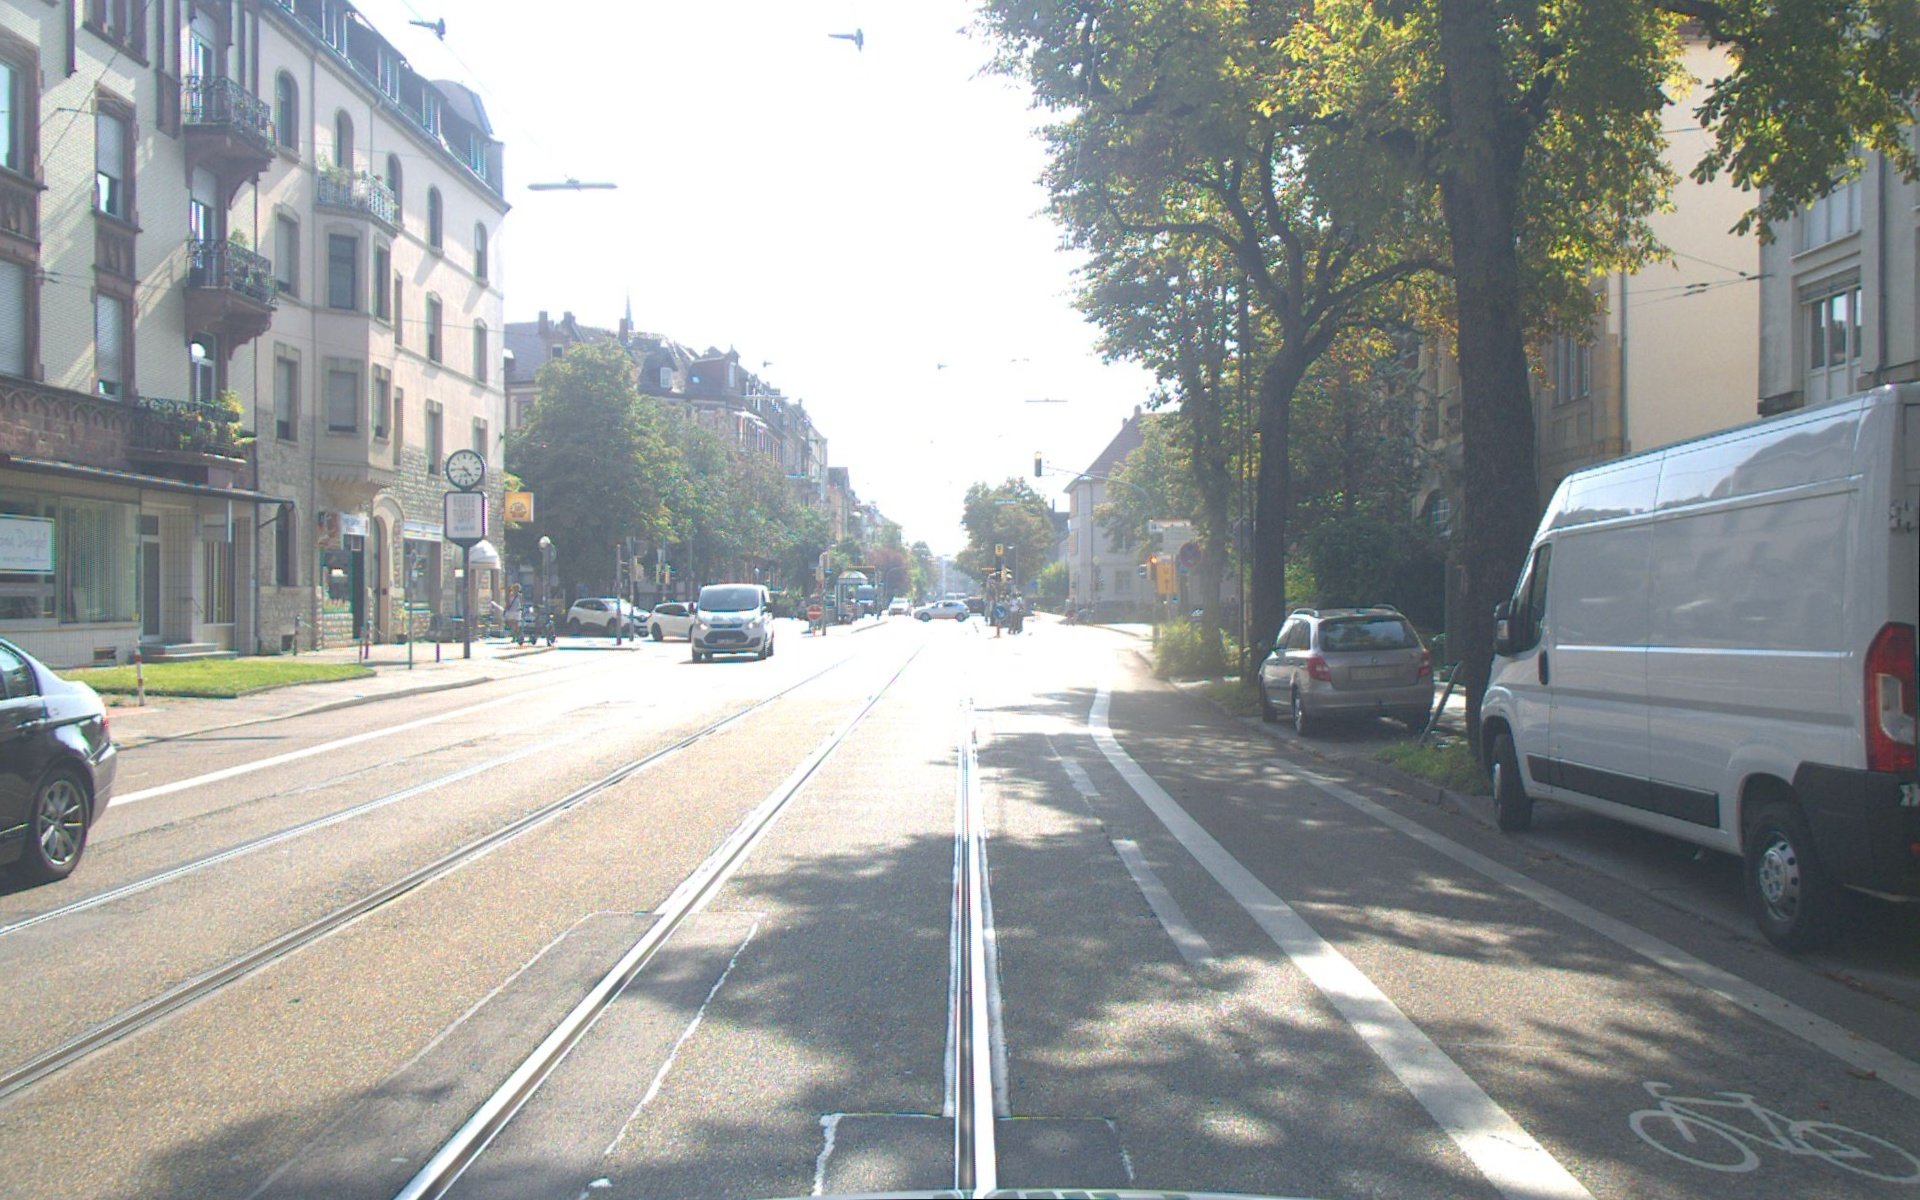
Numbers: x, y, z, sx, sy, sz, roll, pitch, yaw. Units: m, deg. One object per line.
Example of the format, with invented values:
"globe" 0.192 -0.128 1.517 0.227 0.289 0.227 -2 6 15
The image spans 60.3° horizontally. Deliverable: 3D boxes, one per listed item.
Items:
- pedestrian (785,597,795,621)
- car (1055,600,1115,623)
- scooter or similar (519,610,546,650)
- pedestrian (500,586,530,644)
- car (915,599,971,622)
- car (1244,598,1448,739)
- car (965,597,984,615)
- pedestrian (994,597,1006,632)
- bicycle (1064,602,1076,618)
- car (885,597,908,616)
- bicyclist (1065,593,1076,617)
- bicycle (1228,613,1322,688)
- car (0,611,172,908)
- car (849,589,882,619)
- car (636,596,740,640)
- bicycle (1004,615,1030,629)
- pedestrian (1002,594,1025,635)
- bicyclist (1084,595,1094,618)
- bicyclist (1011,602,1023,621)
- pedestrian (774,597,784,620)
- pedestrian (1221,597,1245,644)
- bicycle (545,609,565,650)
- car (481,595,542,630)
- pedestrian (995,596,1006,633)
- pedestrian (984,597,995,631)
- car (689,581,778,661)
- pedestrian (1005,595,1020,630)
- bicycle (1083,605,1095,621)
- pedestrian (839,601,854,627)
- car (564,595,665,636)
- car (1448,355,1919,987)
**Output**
"pedestrian" -13.125 0.664 127.559 0.522 1.790 0.544 3 2 26
"car" 8.781 0.772 115.683 3.880 1.579 2.001 0 0 15
"scooter or similar" -13.319 0.922 51.557 1.017 1.218 0.364 0 -1 45
"pedestrian" -14.510 0.481 53.965 0.758 1.892 0.830 0 0 -2
"car" -1.174 0.762 116.247 3.883 1.579 2.000 0 0 0
"car" 4.885 0.805 21.510 1.574 1.550 4.357 -3 0 0
"car" 1.424 0.597 160.545 1.764 1.682 3.643 0 0 1
"pedestrian" 2.121 0.756 87.387 0.532 1.790 0.534 2 2 1
"bicycle" 7.004 0.616 104.918 0.616 0.995 1.770 0 0 -1
"car" -5.685 0.564 148.706 1.764 1.682 3.643 0 0 1
"bicyclist" 7.009 0.324 104.917 0.616 1.534 0.678 0 0 -1
"bicycle" 5.569 0.876 29.199 1.825 1.186 0.497 -3 -4 -40
"car" -5.497 0.772 7.489 1.662 1.427 4.645 1 0 -1
"car" -8.503 0.366 149.800 2.298 2.708 5.107 0 0 4
"car" -10.631 0.688 64.464 1.984 1.659 4.264 0 0 -43
"bicycle" 4.022 1.522 116.536 1.811 0.975 0.549 0 0 7
"pedestrian" 2.366 0.626 73.595 0.687 1.755 0.746 4 2 33
"bicyclist" 8.125 0.379 104.360 0.546 1.441 0.871 0 0 -1
"bicyclist" 4.046 0.790 116.541 0.801 1.351 0.549 0 0 7
"pedestrian" -13.888 0.681 127.048 0.522 1.720 0.544 3 2 30
"pedestrian" 10.369 0.770 62.837 0.736 1.761 0.770 0 0 -8
"bicycle" -12.750 0.929 52.090 0.444 1.248 1.853 0 0 -9
"car" -20.480 0.551 75.459 1.841 1.492 4.746 0 0 -26
"pedestrian" 2.012 0.733 82.570 0.494 1.790 0.534 2 2 1
"pedestrian" 1.589 0.753 88.813 0.521 1.790 0.545 2 2 2
"car" -6.084 0.534 44.926 1.954 2.049 4.856 0 0 -3
"pedestrian" 2.755 0.640 86.758 0.694 1.790 0.534 2 2 1
"bicycle" 8.133 0.791 104.344 0.546 0.995 1.856 0 0 -1
"pedestrian" -6.210 0.763 90.339 0.811 1.382 0.775 0 0 -4
"car" -14.738 0.649 70.433 4.248 1.659 1.991 0 0 38
"car" 4.804 0.267 9.772 2.004 2.542 6.229 -1 0 0
